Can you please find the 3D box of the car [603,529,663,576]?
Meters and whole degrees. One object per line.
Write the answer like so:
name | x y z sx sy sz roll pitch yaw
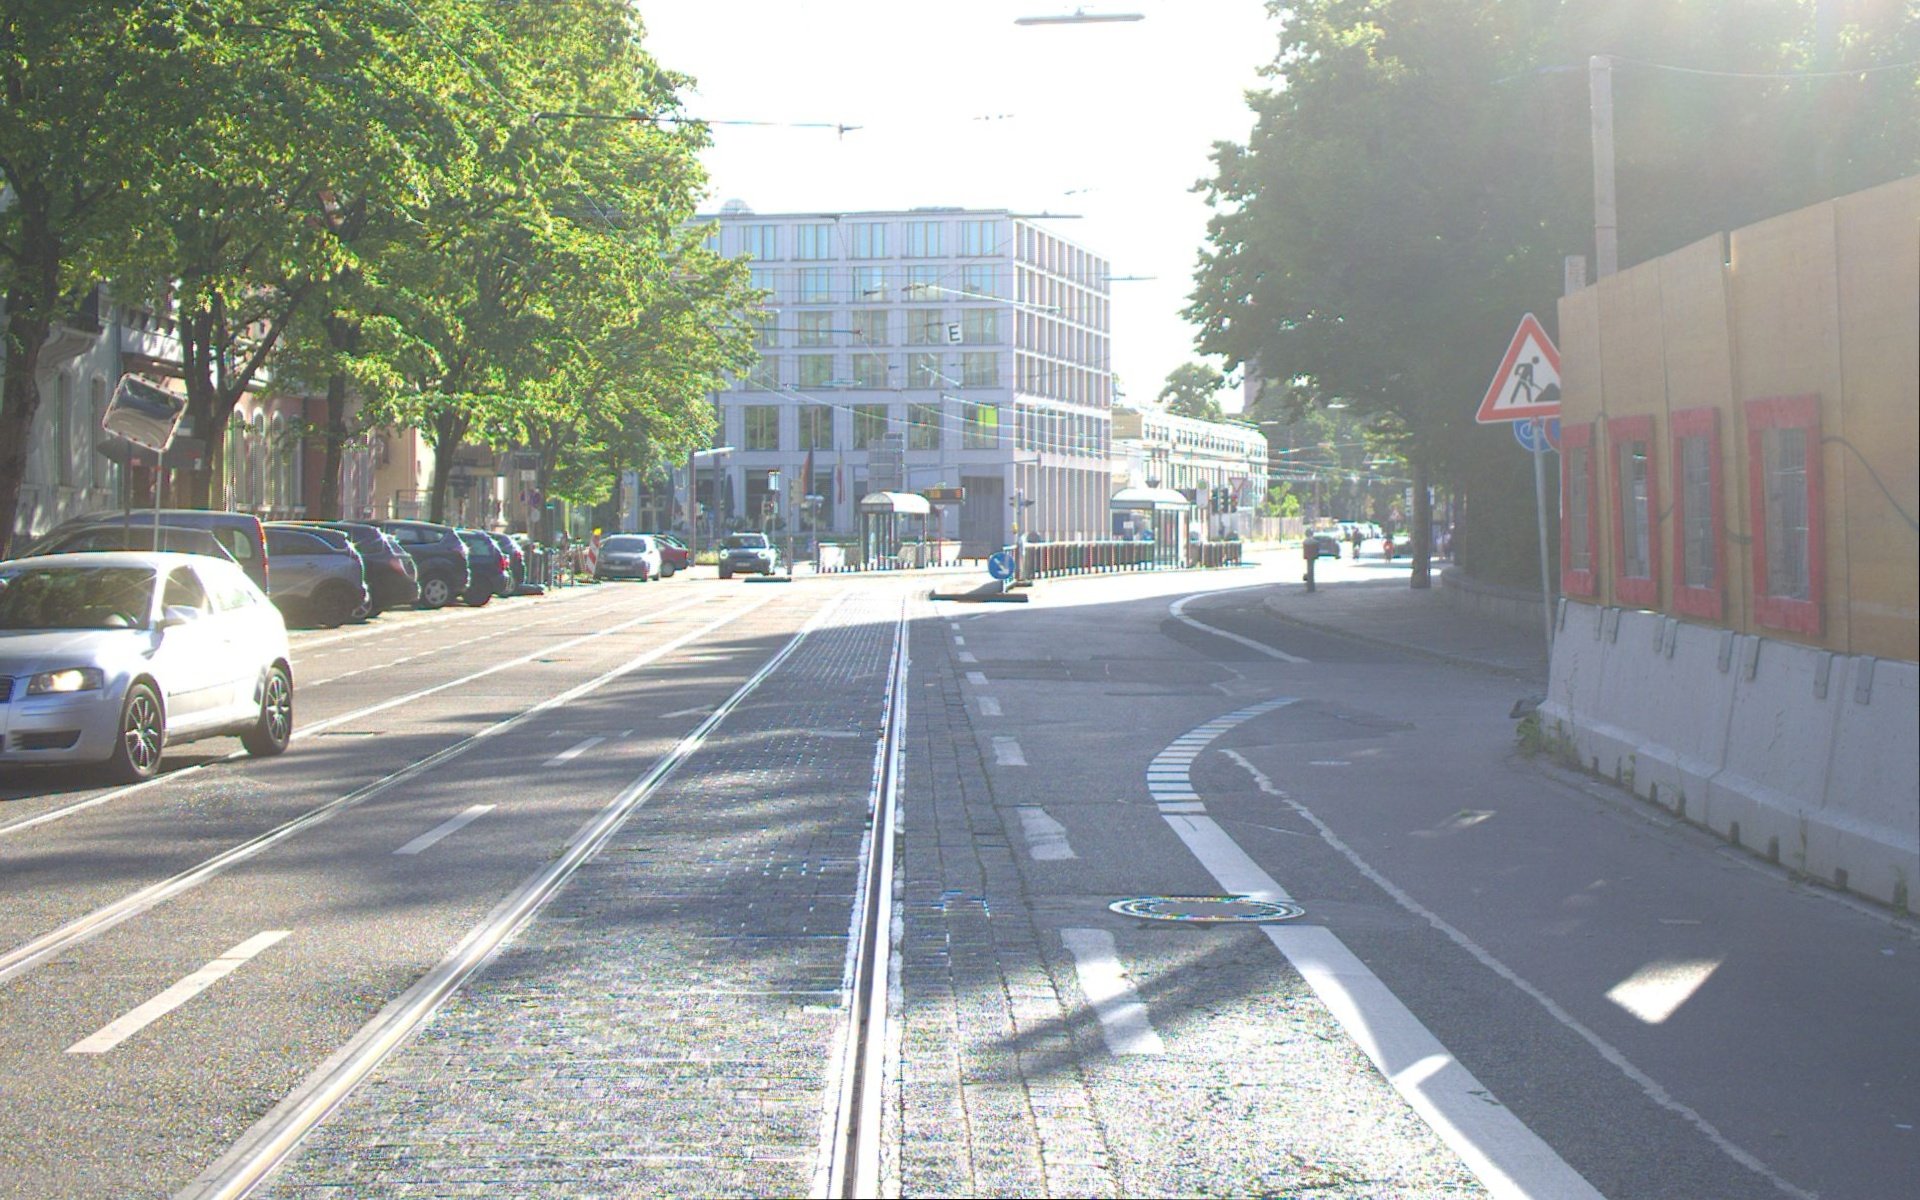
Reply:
car | -10.572 -1.560 111.384 1.573 1.485 4.000 0 1 0

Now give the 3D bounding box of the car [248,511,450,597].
car | -10.797 -0.824 60.738 3.270 1.479 1.470 -1 1 -22

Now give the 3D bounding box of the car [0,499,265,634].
car | -11.339 -0.448 44.907 4.159 1.715 1.584 0 1 -28

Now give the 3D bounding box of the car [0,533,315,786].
car | -5.635 0.306 22.026 1.710 1.431 4.170 0 1 8

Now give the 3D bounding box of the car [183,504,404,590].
car | -11.165 -0.888 57.593 3.372 1.415 1.405 0 1 -28

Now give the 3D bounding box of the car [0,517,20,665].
car | -11.612 -0.076 34.921 3.674 1.522 1.483 -1 2 -35

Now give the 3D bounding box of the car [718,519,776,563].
car | -7.534 -2.085 121.794 1.558 1.525 4.000 0 1 4

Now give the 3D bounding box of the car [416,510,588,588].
car | -9.524 -1.072 71.482 3.270 1.579 1.470 -1 1 -22

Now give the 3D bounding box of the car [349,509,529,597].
car | -10.324 -0.943 68.089 3.270 1.692 1.470 -1 1 -22

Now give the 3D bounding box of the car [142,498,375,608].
car | -11.141 -0.751 54.654 3.372 1.692 1.405 0 1 -28

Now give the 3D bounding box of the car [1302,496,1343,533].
car | 20.098 -4.763 190.568 1.994 2.007 3.999 0 2 10

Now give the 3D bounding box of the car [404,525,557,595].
car | -11.259 -0.956 80.752 3.270 1.579 1.470 -1 2 -22

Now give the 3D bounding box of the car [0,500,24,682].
car | -10.850 -0.066 32.217 3.674 1.715 1.611 -1 2 -35

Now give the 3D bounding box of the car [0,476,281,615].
car | -11.626 -0.749 47.970 3.828 1.826 1.732 1 1 -30

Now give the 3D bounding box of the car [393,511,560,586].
car | -10.349 -1.114 73.527 3.270 1.579 1.470 -1 1 -22
